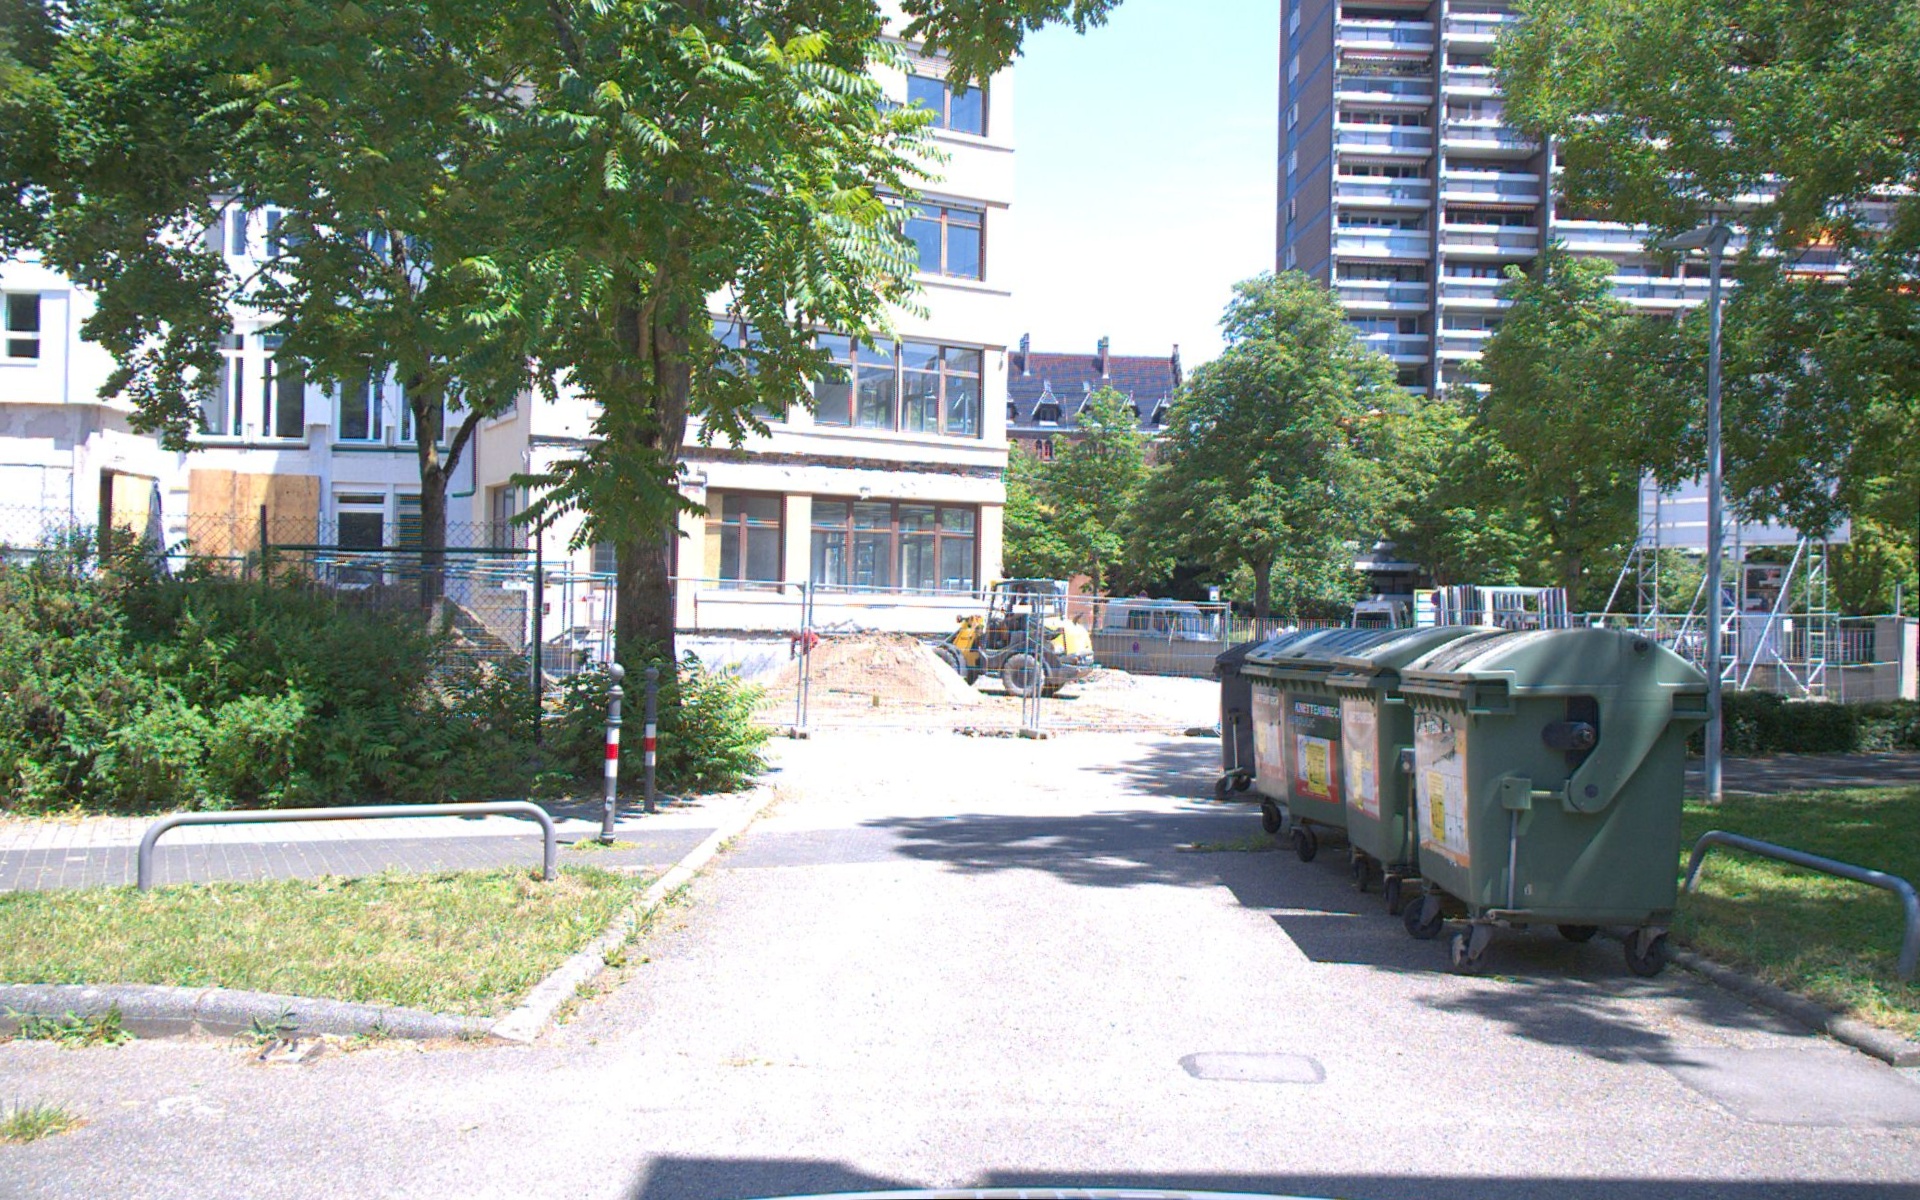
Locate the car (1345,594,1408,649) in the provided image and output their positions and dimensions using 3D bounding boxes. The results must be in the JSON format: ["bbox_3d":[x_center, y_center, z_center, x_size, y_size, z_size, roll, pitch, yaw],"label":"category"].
[{"bbox_3d":[18.359,0.957,72.731,2.139,2.298,4.869,0,-1,21],"label":"car"}]

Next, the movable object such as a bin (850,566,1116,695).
[{"bbox_3d":[0.496,0.638,36.444,5.298,2.507,2.365,2,0,26],"label":"movable object such as a bin"}]

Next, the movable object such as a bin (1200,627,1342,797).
[{"bbox_3d":[2.847,1.002,15.303,1.053,1.483,1.377,1,-1,0],"label":"movable object such as a bin"}]

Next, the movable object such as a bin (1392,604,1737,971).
[{"bbox_3d":[2.657,0.779,7.460,1.053,1.483,1.377,1,-1,0],"label":"movable object such as a bin"}]

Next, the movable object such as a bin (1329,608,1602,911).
[{"bbox_3d":[2.666,0.803,8.903,1.053,1.483,1.377,1,-1,0],"label":"movable object such as a bin"}]

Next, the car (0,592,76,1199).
[{"bbox_3d":[-4.213,0.677,2.801,4.337,1.404,2.024,1,1,1],"label":"car"}]

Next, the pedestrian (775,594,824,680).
[{"bbox_3d":[-3.553,0.821,36.607,0.899,1.879,0.982,1,-1,-15],"label":"pedestrian"}]

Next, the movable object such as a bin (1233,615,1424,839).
[{"bbox_3d":[2.593,0.865,11.795,1.053,1.483,1.377,1,-1,0],"label":"movable object such as a bin"}]

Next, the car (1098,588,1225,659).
[{"bbox_3d":[7.321,0.853,60.620,1.972,2.459,5.192,1,-1,-29],"label":"car"}]

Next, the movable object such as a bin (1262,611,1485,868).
[{"bbox_3d":[2.548,0.826,10.374,1.053,1.483,1.377,1,-1,0],"label":"movable object such as a bin"}]
